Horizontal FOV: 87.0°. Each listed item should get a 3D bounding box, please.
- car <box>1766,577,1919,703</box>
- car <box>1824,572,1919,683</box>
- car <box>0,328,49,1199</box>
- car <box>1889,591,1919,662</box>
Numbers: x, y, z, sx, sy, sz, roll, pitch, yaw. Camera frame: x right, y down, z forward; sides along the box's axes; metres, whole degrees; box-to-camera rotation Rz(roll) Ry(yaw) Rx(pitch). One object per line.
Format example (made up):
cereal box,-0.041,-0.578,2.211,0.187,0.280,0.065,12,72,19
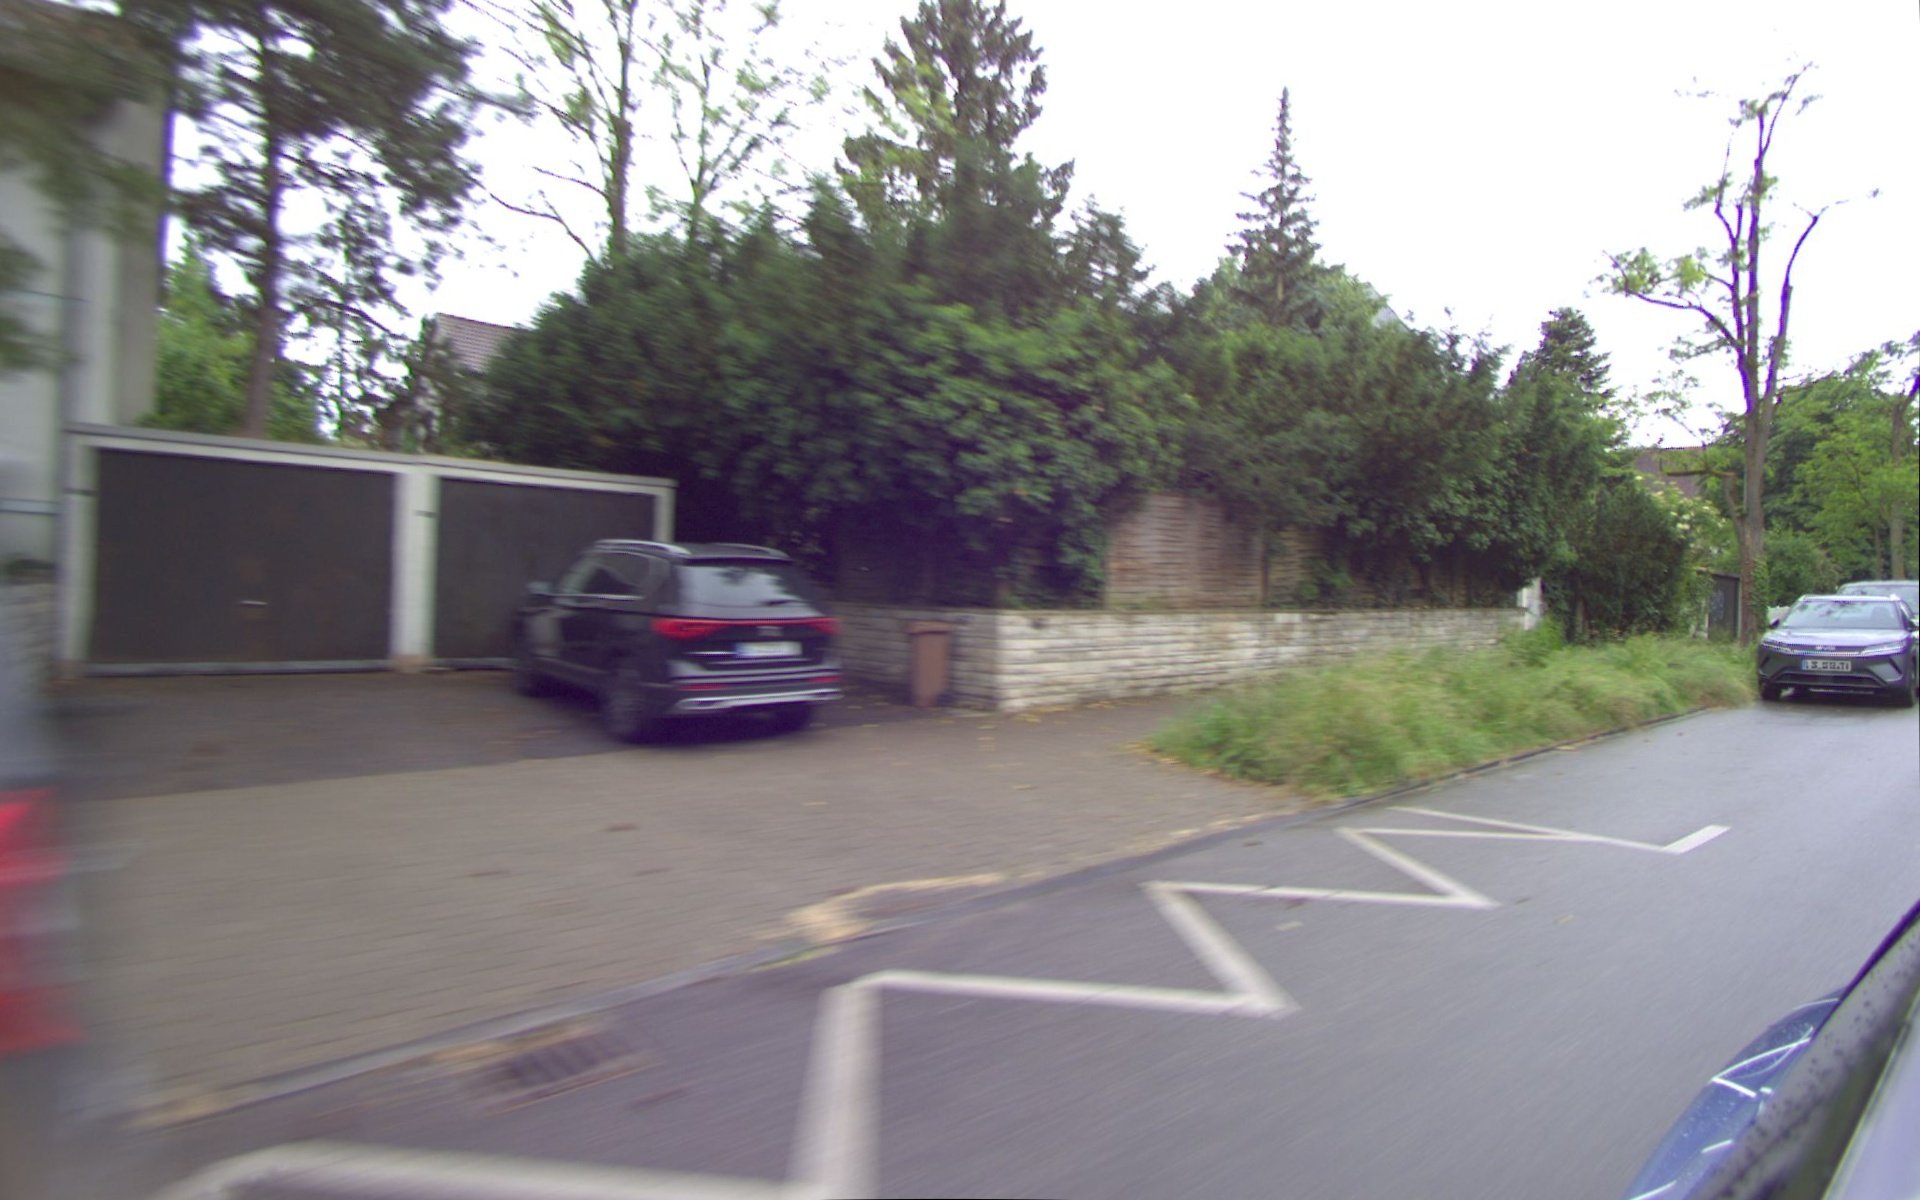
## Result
car,14.364,0.581,16.002,4.250,1.745,1.777,1,-1,-41
car,19.153,0.529,20.353,4.801,2.039,1.997,1,-1,-41
car,-3.347,0.548,0.547,4.210,1.836,1.816,1,-1,-43
car,23.824,0.632,24.318,4.211,1.633,1.807,1,-1,-42
